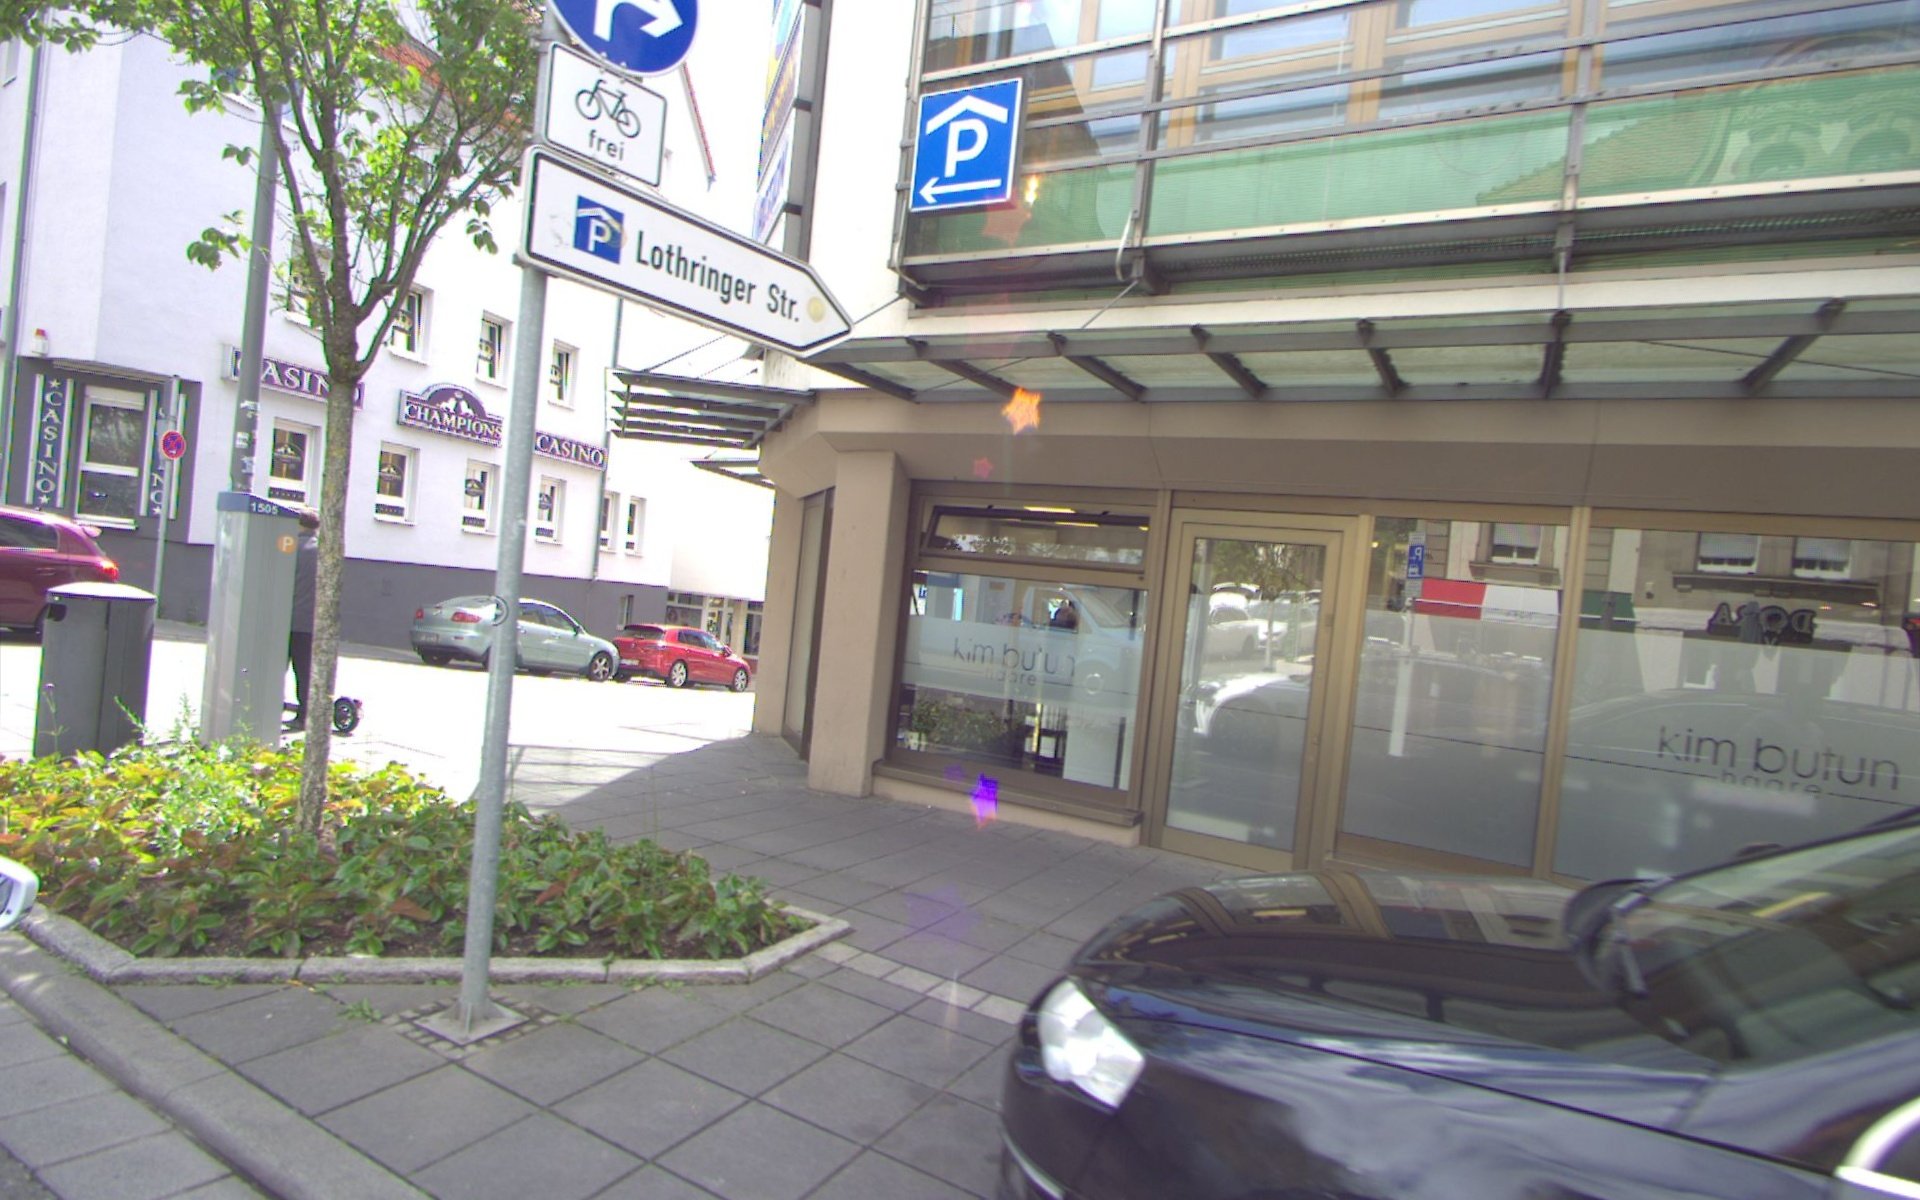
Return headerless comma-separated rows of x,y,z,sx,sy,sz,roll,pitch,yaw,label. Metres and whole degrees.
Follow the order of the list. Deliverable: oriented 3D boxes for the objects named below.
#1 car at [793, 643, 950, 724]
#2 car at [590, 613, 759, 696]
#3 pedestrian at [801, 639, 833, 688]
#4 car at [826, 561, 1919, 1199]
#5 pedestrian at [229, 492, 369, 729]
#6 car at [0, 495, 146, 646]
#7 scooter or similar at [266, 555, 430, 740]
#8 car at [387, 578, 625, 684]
-1.876,1.938,22.643,1.816,1.413,3.897,8,-4,22,car
-6.767,1.365,24.254,1.816,1.412,3.847,6,-6,22,car
-5.246,2.342,36.938,0.570,1.676,0.949,7,-2,21,pedestrian
2.135,0.933,1.453,4.476,1.471,1.717,6,0,31,car
-5.046,0.089,7.700,0.473,1.723,0.572,6,-1,27,pedestrian
-11.284,-0.473,10.651,1.512,1.547,3.752,6,-2,33,car
-4.817,0.358,7.904,1.228,1.295,0.431,6,-1,29,scooter or similar
-8.650,0.681,19.553,1.816,1.412,3.901,6,-6,22,car
